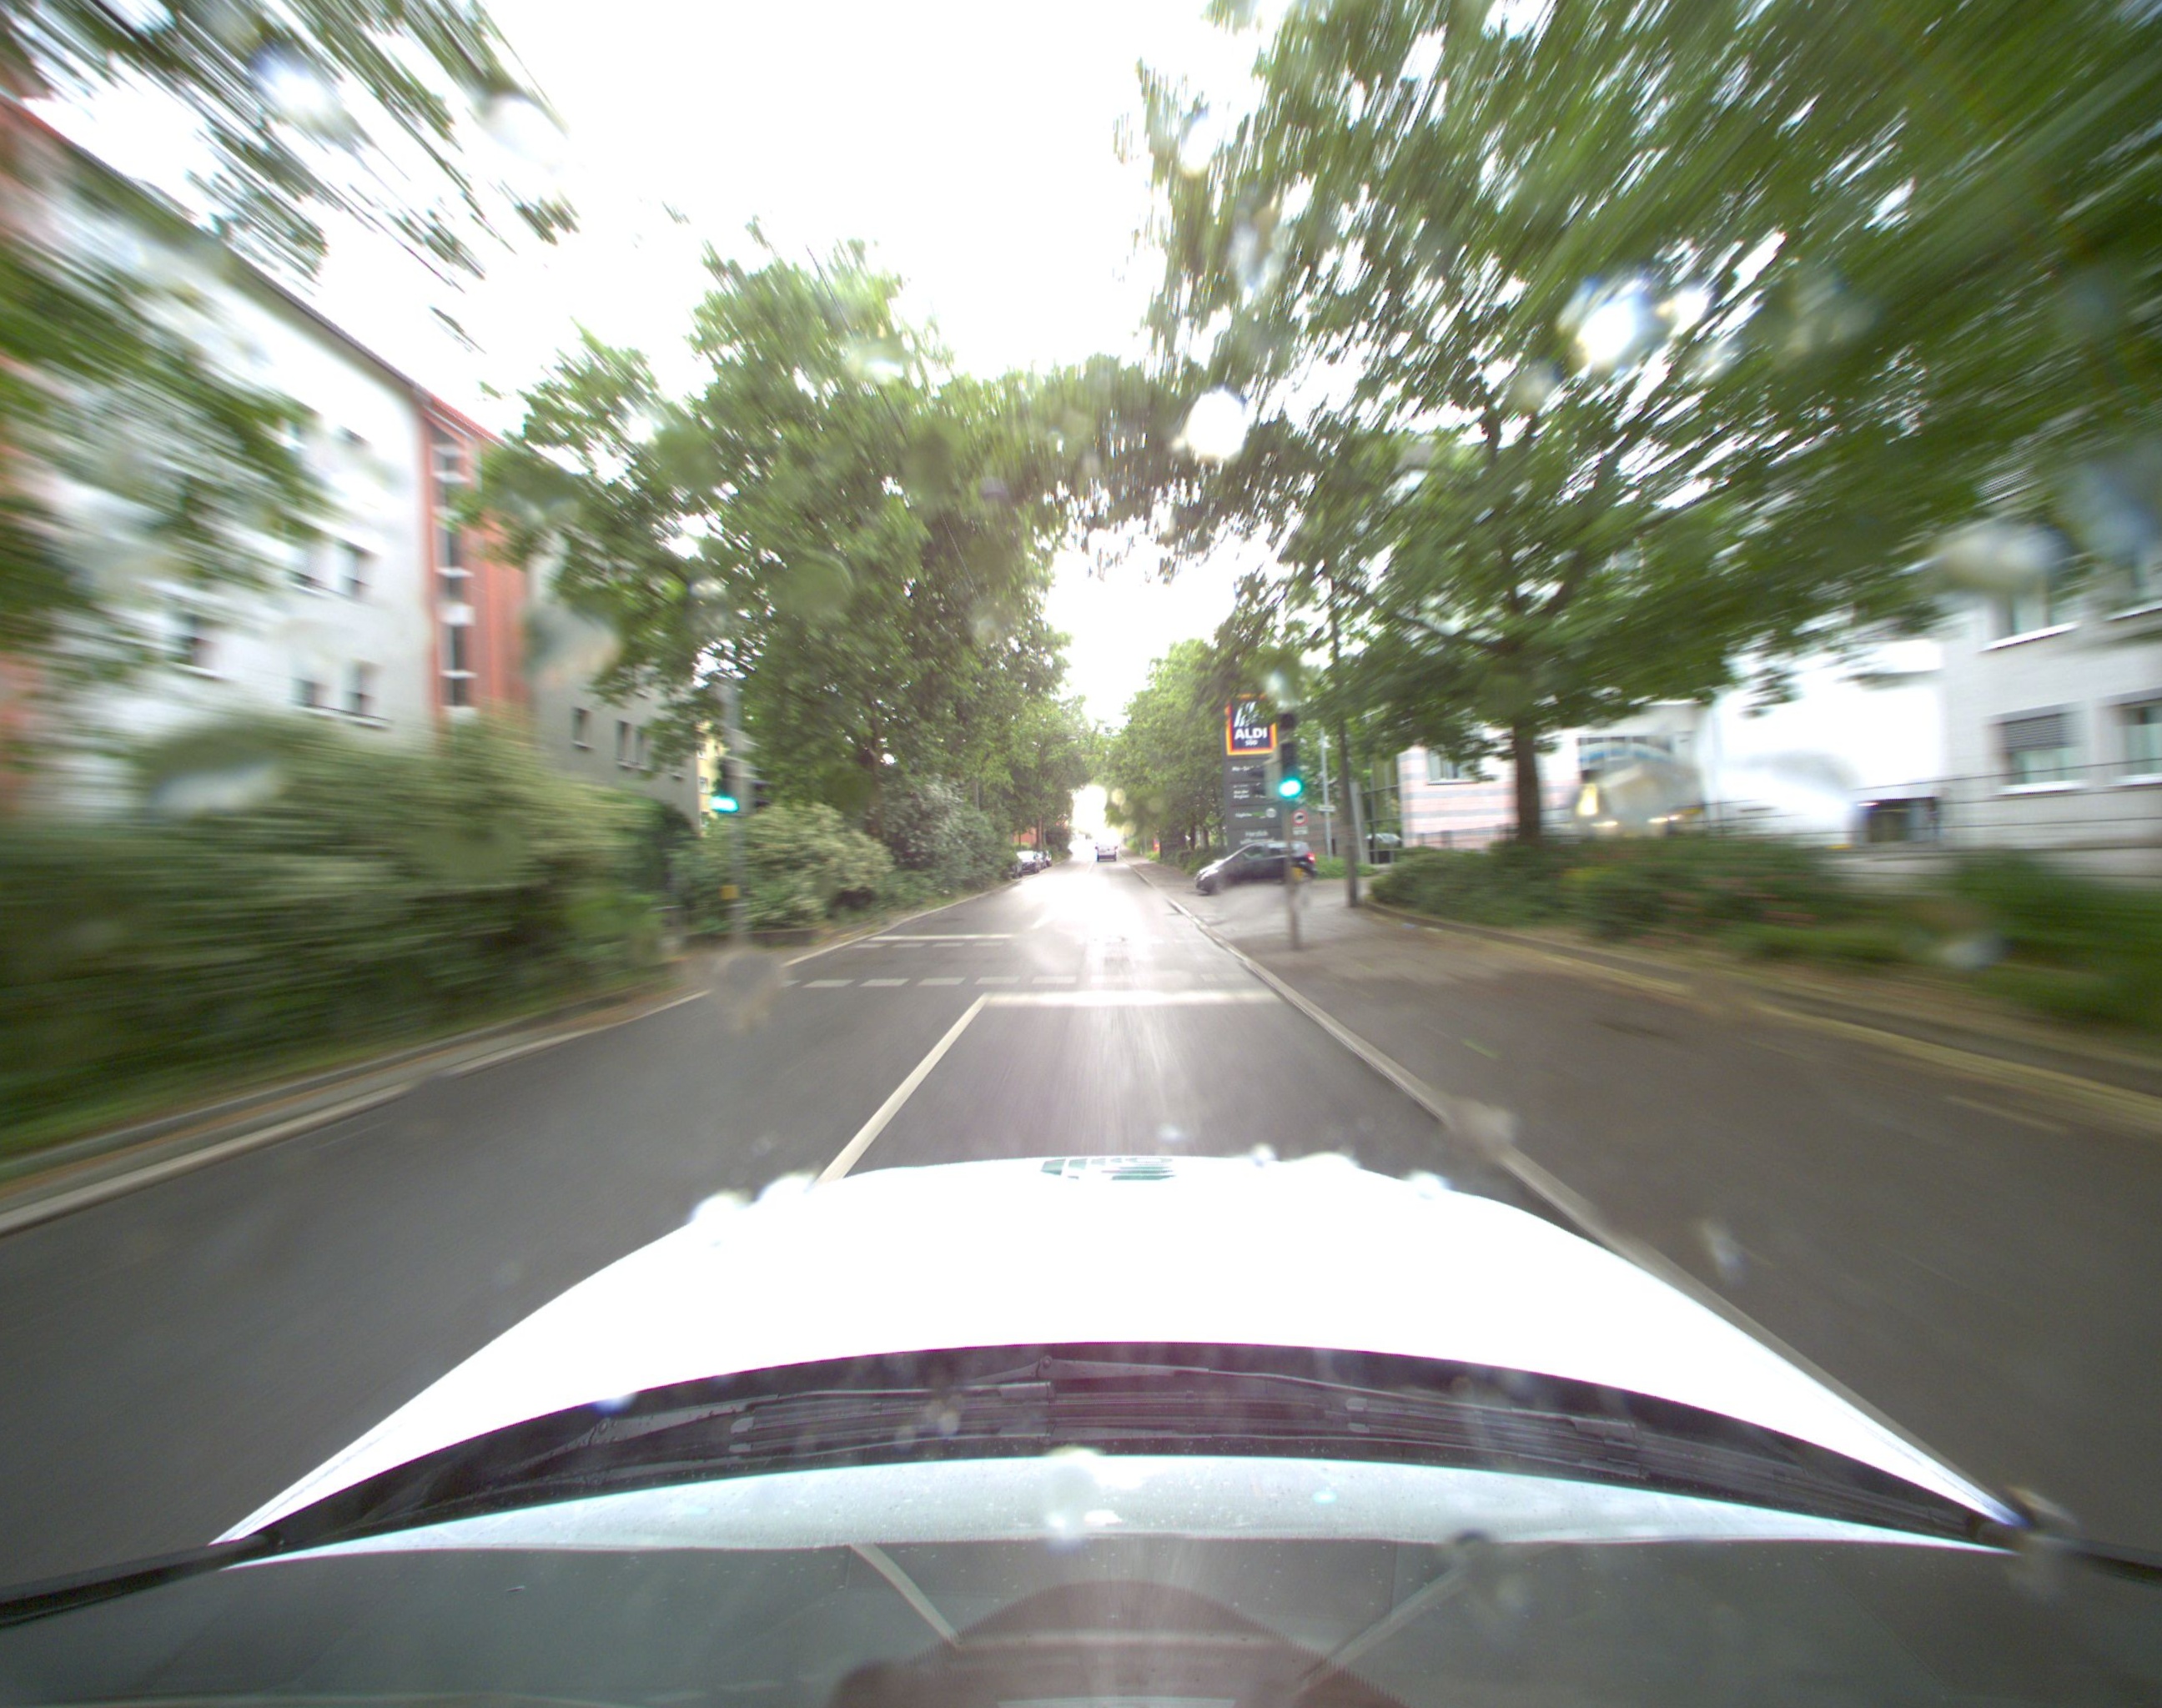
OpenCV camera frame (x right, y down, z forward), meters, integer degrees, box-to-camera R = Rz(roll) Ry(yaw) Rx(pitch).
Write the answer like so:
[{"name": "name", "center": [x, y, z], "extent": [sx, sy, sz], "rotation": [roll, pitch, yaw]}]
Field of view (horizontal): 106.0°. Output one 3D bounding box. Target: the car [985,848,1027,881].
[{"name": "car", "center": [-4.480, 0.581, 49.493], "extent": [1.727, 1.657, 4.568], "rotation": [-6, 1, 3]}]

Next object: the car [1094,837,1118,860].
[{"name": "car", "center": [2.638, -0.566, 85.340], "extent": [2.327, 2.231, 4.002], "rotation": [-3, -1, 2]}]

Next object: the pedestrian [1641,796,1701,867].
[{"name": "pedestrian", "center": [15.861, -0.589, 21.909], "extent": [0.825, 1.828, 0.961], "rotation": [-3, -2, 5]}]

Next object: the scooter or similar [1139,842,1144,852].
[{"name": "scooter or similar", "center": [7.068, -0.827, 95.561], "extent": [0.424, 1.142, 1.529], "rotation": [-1, -1, 0]}]

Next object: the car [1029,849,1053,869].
[{"name": "car", "center": [-3.478, 0.394, 71.108], "extent": [1.642, 1.537, 4.019], "rotation": [-6, 0, 1]}]

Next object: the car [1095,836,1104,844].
[{"name": "car", "center": [4.829, -3.666, 214.375], "extent": [2.149, 1.709, 3.879], "rotation": [-1, -1, 6]}]

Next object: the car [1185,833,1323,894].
[{"name": "car", "center": [5.499, 0.292, 26.211], "extent": [3.842, 1.547, 2.023], "rotation": [-5, 0, -5]}]

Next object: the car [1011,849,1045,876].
[{"name": "car", "center": [-3.543, 0.524, 55.055], "extent": [1.859, 1.591, 4.239], "rotation": [-5, 1, 0]}]
